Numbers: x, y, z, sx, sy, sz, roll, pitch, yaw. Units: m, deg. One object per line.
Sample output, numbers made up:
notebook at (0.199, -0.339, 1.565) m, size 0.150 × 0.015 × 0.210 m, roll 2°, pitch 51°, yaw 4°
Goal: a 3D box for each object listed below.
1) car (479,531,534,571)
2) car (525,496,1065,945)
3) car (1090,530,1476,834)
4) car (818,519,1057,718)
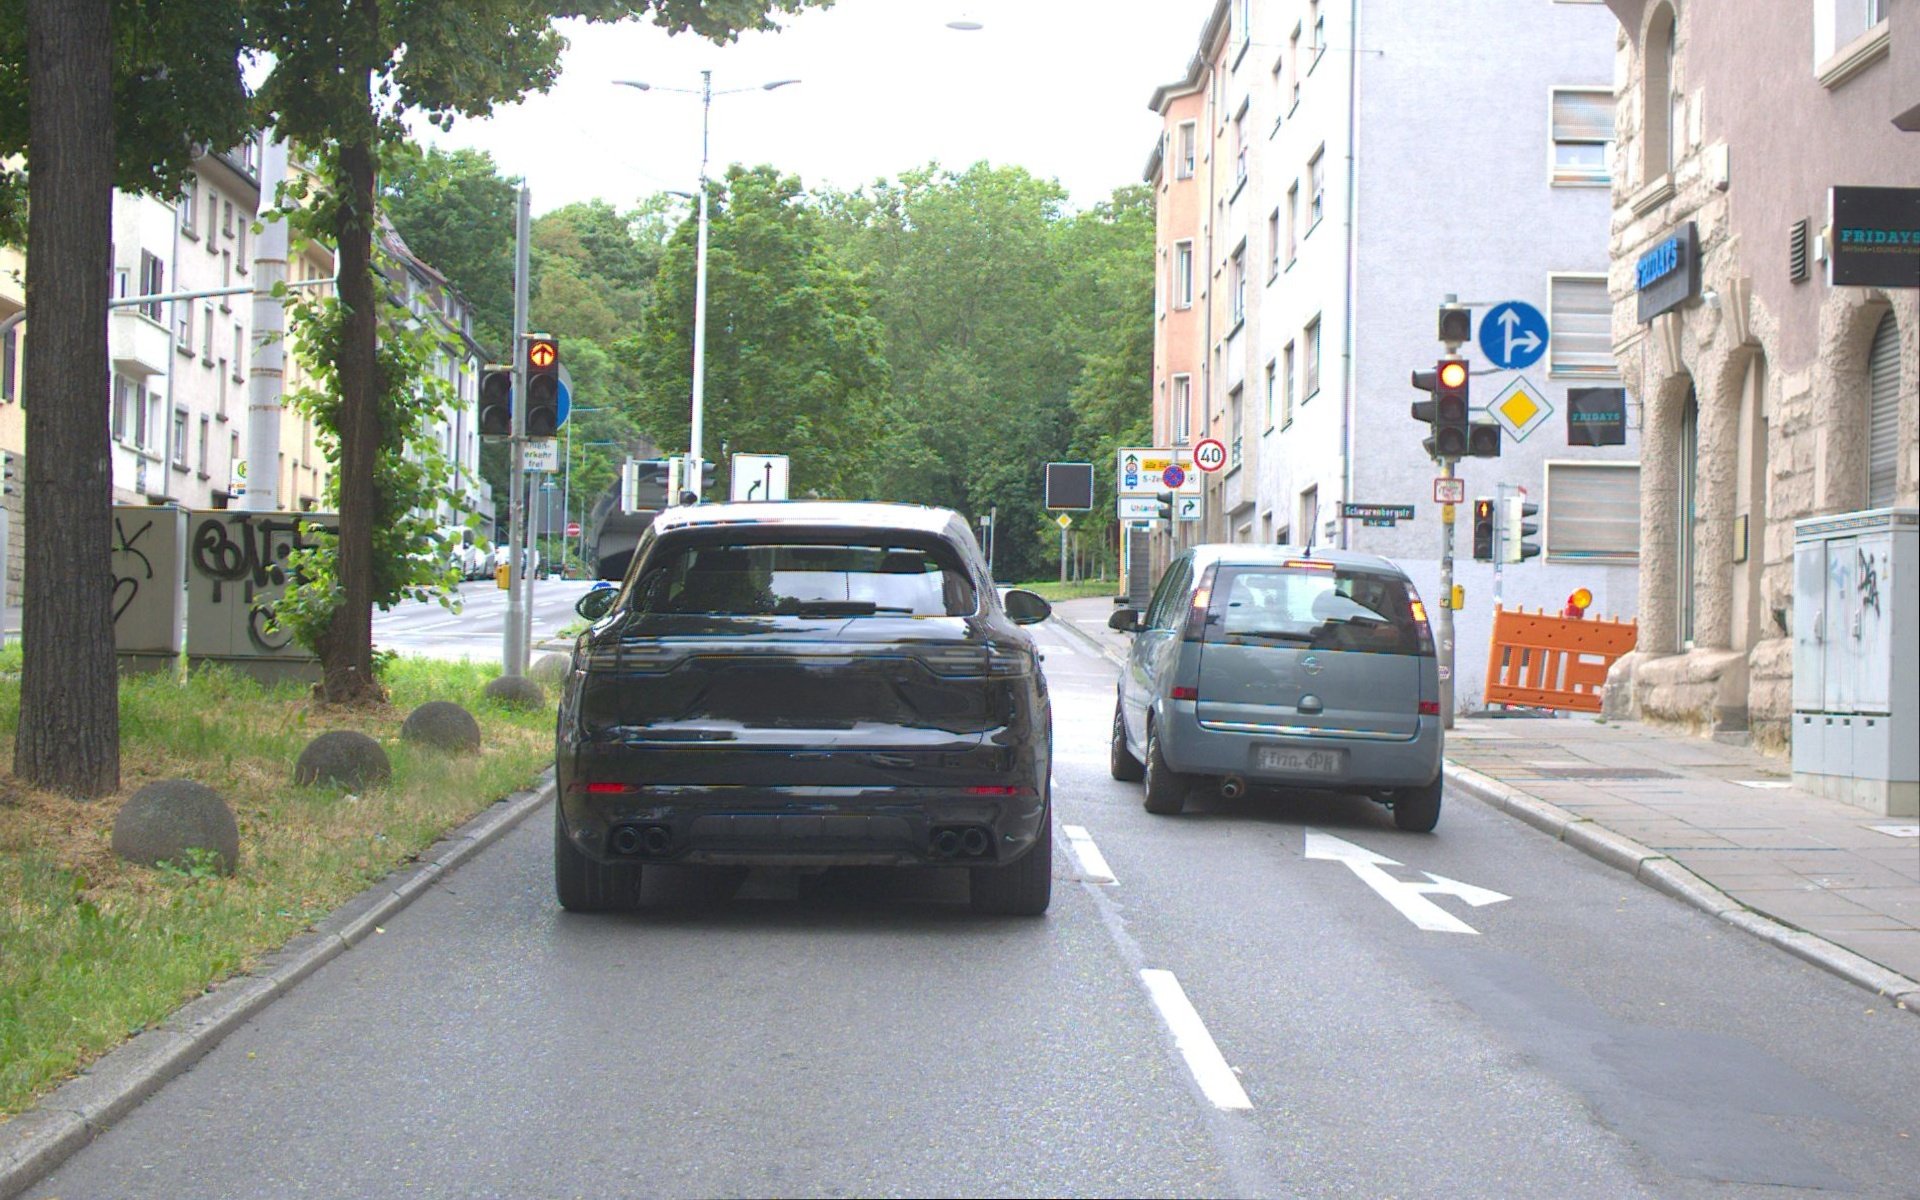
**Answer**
car at (-18.190, -1.984, 138.055) m, size 1.794 × 1.505 × 4.001 m, roll 2°, pitch 1°, yaw -2°
car at (-0.614, 0.400, 14.793) m, size 1.994 × 1.647 × 4.000 m, roll 1°, pitch 1°, yaw 0°
car at (1.868, 0.426, 20.930) m, size 1.752 × 1.588 × 3.631 m, roll 3°, pitch 1°, yaw -3°
car at (-0.190, 0.144, 30.941) m, size 1.994 × 1.647 × 4.000 m, roll 1°, pitch 0°, yaw 0°
